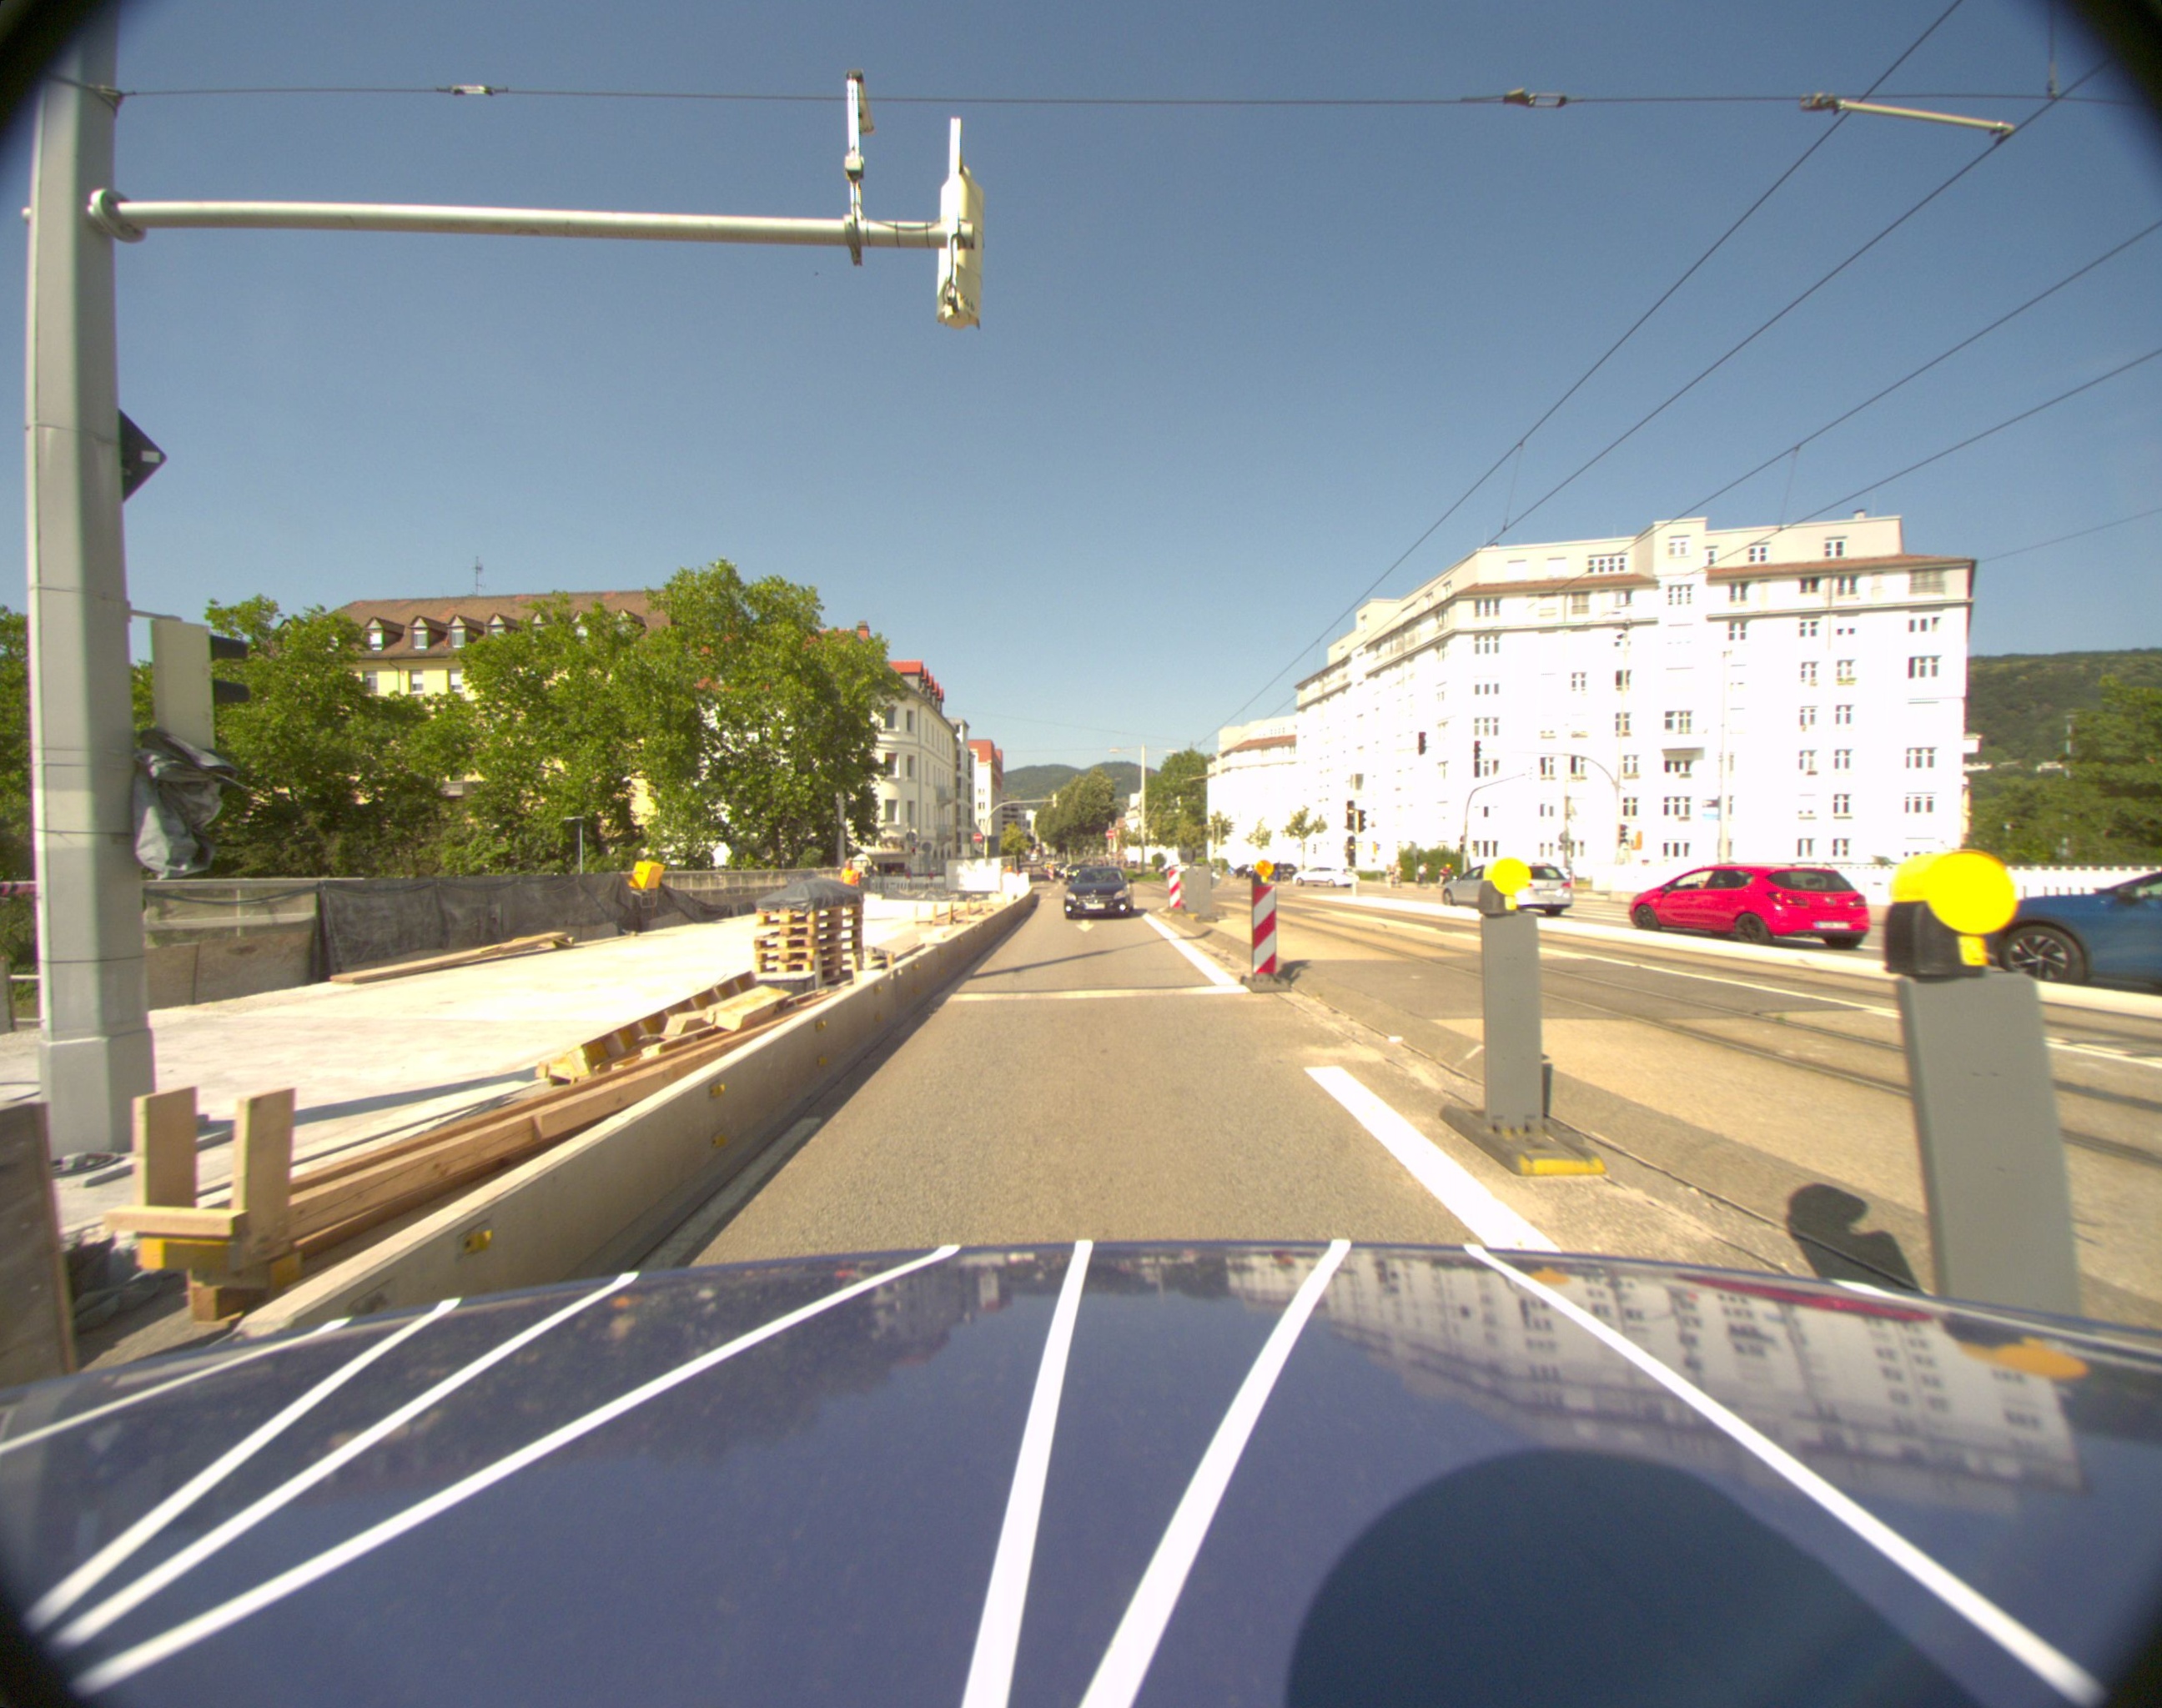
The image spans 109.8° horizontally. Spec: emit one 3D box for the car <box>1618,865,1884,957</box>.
[{"bbox_3d":[12.364,0.963,14.418,1.537,1.429,3.980,1,0,0],"label":"car"}]

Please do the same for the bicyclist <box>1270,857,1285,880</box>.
[{"bbox_3d":[14.969,1.117,57.947,1.008,1.643,0.810,-3,-2,14],"label":"bicyclist"}]

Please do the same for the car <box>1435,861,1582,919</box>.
[{"bbox_3d":[12.120,0.947,21.946,1.642,1.429,4.643,1,0,0],"label":"car"}]

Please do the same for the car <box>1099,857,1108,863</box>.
[{"bbox_3d":[5.418,1.488,184.953,1.798,1.476,3.739,-1,0,-3],"label":"car"}]

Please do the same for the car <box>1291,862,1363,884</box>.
[{"bbox_3d":[16.380,1.219,50.834,1.705,1.403,4.474,0,0,-33],"label":"car"}]

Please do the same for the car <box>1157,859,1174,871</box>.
[{"bbox_3d":[11.050,1.395,99.167,1.594,1.484,3.661,1,0,-4],"label":"car"}]

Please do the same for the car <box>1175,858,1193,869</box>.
[{"bbox_3d":[13.919,1.232,102.896,1.740,1.476,3.739,-1,0,-5],"label":"car"}]

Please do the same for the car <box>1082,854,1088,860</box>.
[{"bbox_3d":[1.237,0.988,235.036,1.798,1.672,3.739,-1,0,-3],"label":"car"}]

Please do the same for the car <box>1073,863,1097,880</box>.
[{"bbox_3d":[0.355,1.382,61.491,1.766,1.313,4.000,-1,0,1],"label":"car"}]

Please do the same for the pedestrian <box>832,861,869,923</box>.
[{"bbox_3d":[-6.795,1.105,22.419,0.821,1.784,0.864,1,0,-1],"label":"pedestrian"}]

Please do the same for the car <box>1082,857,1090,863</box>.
[{"bbox_3d":[1.306,1.438,195.972,1.798,1.476,3.739,-1,0,-3],"label":"car"}]

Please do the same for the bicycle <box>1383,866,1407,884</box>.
[{"bbox_3d":[21.009,1.393,50.847,0.618,1.093,1.785,-1,0,-9],"label":"bicycle"}]

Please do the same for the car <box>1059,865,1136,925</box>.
[{"bbox_3d":[0.563,1.065,21.137,1.702,1.399,4.625,-2,-1,6],"label":"car"}]

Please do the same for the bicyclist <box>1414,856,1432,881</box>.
[{"bbox_3d":[22.117,0.948,49.133,0.624,1.570,0.917,-1,1,-10],"label":"bicyclist"}]

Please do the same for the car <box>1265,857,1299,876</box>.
[{"bbox_3d":[17.541,1.087,66.385,1.740,1.628,3.739,-1,0,-5],"label":"car"}]

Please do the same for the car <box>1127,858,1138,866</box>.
[{"bbox_3d":[9.992,1.493,147.603,1.740,1.476,3.739,-1,0,-5],"label":"car"}]

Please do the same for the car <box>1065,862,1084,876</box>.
[{"bbox_3d":[-0.639,1.469,74.771,1.767,1.346,3.999,-1,0,-2],"label":"car"}]

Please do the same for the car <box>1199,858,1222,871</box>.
[{"bbox_3d":[14.875,1.219,87.669,1.740,1.476,3.739,-1,0,-5],"label":"car"}]

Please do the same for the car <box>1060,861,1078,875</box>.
[{"bbox_3d":[-1.305,1.476,81.196,1.767,1.346,3.999,-1,0,-4],"label":"car"}]

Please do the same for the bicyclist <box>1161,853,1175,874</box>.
[{"bbox_3d":[6.415,0.696,56.224,0.785,1.541,0.709,-2,1,-12],"label":"bicyclist"}]

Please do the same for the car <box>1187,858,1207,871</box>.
[{"bbox_3d":[14.577,1.319,95.698,1.740,1.476,3.739,-1,0,-5],"label":"car"}]

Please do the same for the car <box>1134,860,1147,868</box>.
[{"bbox_3d":[10.958,1.839,139.565,1.740,1.476,3.739,-1,0,-5],"label":"car"}]

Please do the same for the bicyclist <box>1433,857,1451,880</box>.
[{"bbox_3d":[23.258,0.904,48.957,0.598,1.469,0.916,-1,0,-15],"label":"bicyclist"}]

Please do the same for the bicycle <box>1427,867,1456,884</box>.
[{"bbox_3d":[23.254,1.377,49.026,0.605,1.093,1.812,-1,0,-15],"label":"bicycle"}]

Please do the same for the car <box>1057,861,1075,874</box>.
[{"bbox_3d":[-1.730,1.551,88.206,1.768,1.346,3.998,-1,0,-6],"label":"car"}]

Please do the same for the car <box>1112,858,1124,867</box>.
[{"bbox_3d":[6.292,1.488,129.667,1.696,1.547,3.655,0,0,-3],"label":"car"}]

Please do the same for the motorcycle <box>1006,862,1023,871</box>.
[{"bbox_3d":[-8.977,1.710,102.007,2.177,1.159,0.744,0,0,1],"label":"motorcycle"}]

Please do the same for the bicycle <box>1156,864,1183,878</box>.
[{"bbox_3d":[6.535,1.243,56.267,1.820,0.985,0.709,-1,0,-12],"label":"bicycle"}]

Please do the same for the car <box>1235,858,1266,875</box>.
[{"bbox_3d":[16.669,1.177,74.876,1.740,1.628,3.738,-1,0,-7],"label":"car"}]

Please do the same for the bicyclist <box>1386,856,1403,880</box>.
[{"bbox_3d":[20.994,0.926,50.878,0.624,1.580,0.917,-1,0,-9],"label":"bicyclist"}]

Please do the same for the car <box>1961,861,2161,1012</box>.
[{"bbox_3d":[11.983,0.867,7.343,1.674,1.541,4.556,1,0,0],"label":"car"}]

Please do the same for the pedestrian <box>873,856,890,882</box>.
[{"bbox_3d":[-13.468,1.010,51.261,1.003,1.697,0.822,-1,1,-7],"label":"pedestrian"}]

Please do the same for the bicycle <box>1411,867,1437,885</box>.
[{"bbox_3d":[22.138,1.437,49.064,0.628,1.093,1.784,-1,0,-10],"label":"bicycle"}]

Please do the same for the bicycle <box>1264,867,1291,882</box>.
[{"bbox_3d":[14.968,1.566,57.944,1.909,1.014,0.823,-3,-1,14],"label":"bicycle"}]

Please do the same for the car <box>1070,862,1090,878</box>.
[{"bbox_3d":[-0.112,1.421,68.705,1.767,1.346,4.000,-1,0,-1],"label":"car"}]
